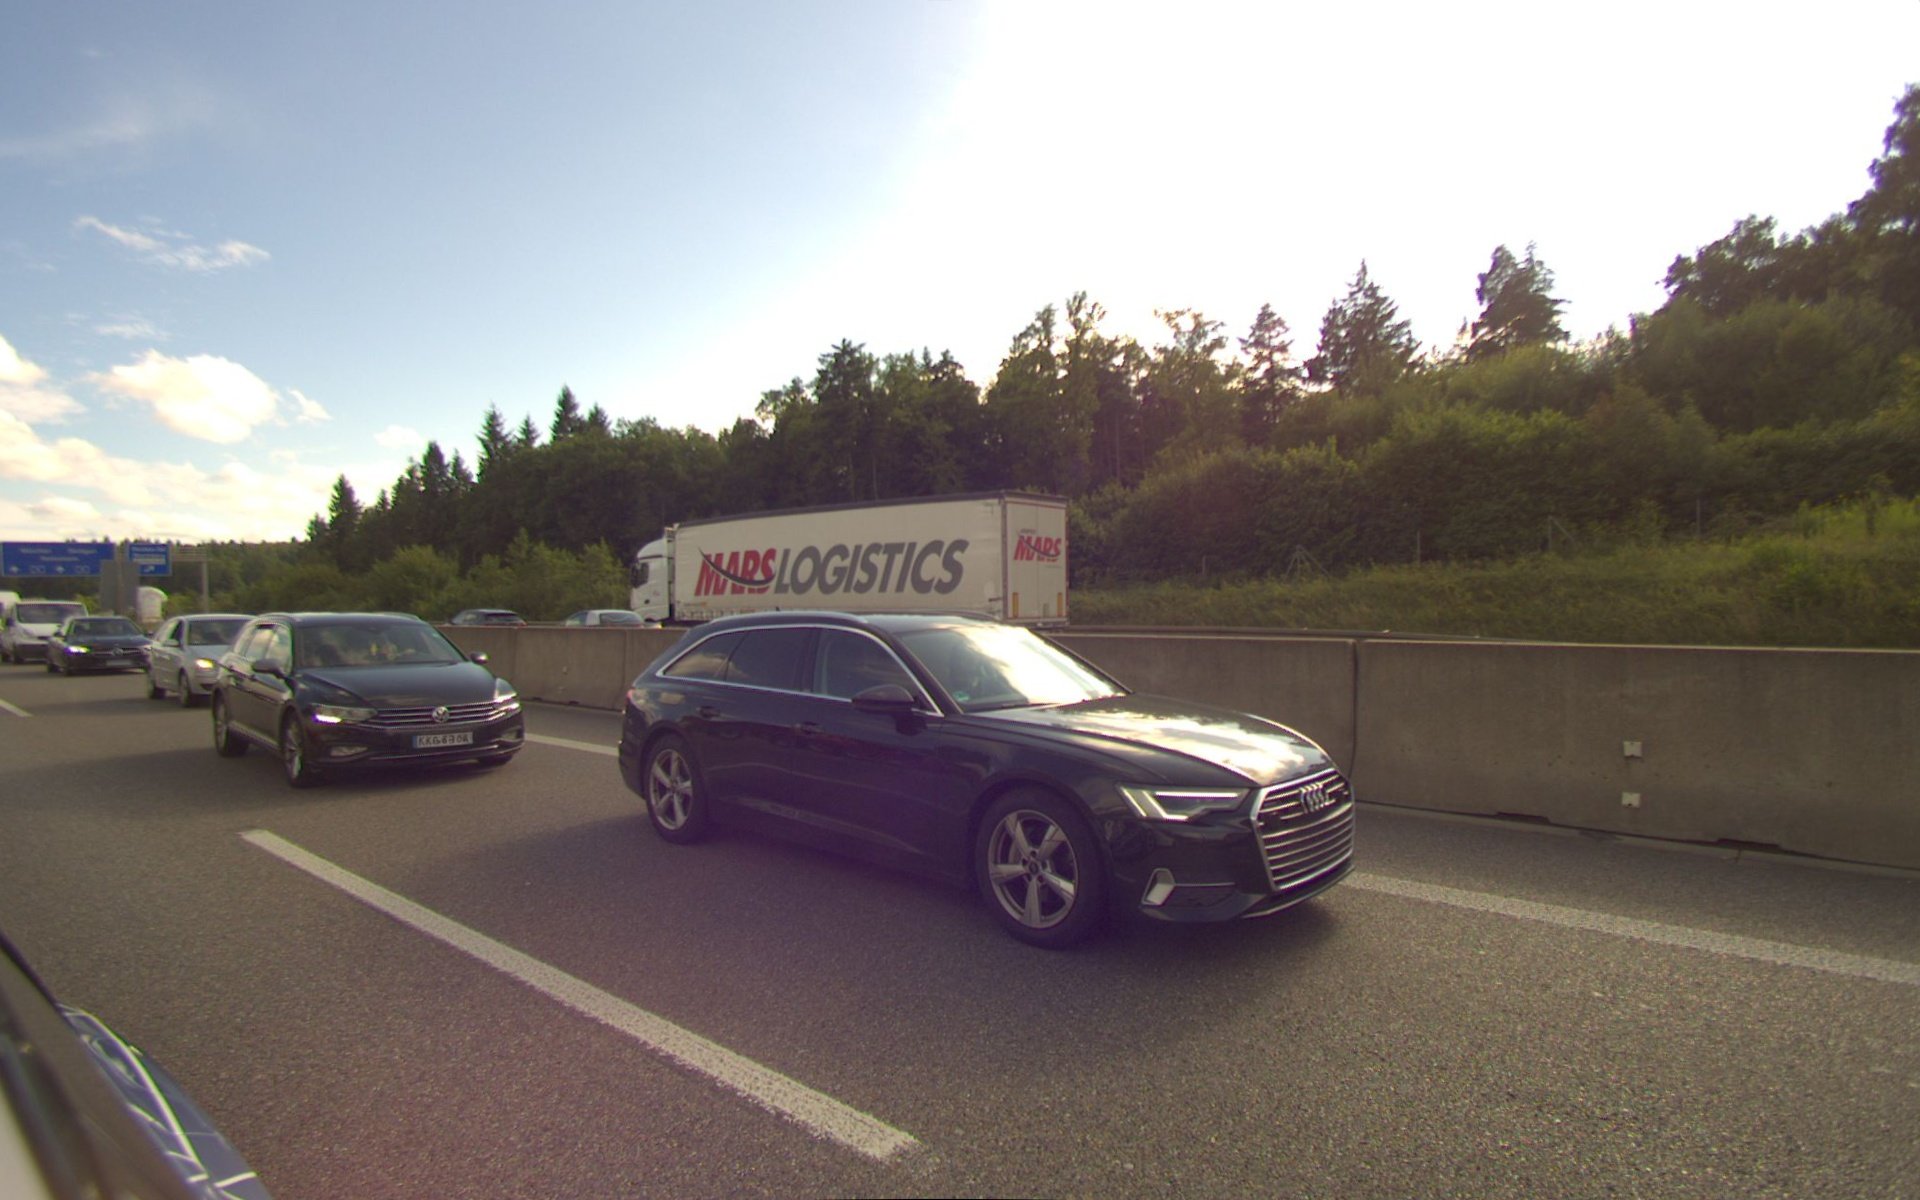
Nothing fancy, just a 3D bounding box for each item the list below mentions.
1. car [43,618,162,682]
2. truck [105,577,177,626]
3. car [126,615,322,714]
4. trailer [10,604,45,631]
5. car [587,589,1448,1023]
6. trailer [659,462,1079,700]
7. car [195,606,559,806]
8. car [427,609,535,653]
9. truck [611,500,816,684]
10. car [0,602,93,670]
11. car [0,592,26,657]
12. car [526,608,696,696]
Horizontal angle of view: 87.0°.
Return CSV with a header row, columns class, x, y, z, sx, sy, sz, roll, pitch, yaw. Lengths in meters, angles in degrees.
class,x,y,z,sx,sy,sz,roll,pitch,yaw
car,-21.745,1.212,25.611,3.993,1.442,1.785,-1,0,42
truck,-77.839,0.194,96.027,13.904,4.387,2.902,0,0,41
car,-12.693,1.004,17.331,4.665,1.442,1.785,-1,0,42
trailer,-151.335,2.776,164.134,13.557,4.234,2.804,0,0,42
car,-0.079,0.731,5.800,4.851,1.483,1.862,-1,0,43
trailer,-3.257,-0.400,28.308,13.829,5.320,3.010,0,0,41
car,-5.840,0.832,9.856,4.569,1.488,1.890,-1,-1,44
car,-17.030,1.063,35.901,4.322,1.438,1.934,-1,0,41
truck,-8.042,-0.218,32.542,6.880,5.292,3.008,0,0,41
car,-29.445,1.106,32.431,4.846,1.980,1.922,-1,0,42
car,-40.577,1.032,42.064,5.860,2.591,2.027,-1,-2,42
car,-8.156,1.132,23.463,4.322,1.823,1.833,-1,0,41
